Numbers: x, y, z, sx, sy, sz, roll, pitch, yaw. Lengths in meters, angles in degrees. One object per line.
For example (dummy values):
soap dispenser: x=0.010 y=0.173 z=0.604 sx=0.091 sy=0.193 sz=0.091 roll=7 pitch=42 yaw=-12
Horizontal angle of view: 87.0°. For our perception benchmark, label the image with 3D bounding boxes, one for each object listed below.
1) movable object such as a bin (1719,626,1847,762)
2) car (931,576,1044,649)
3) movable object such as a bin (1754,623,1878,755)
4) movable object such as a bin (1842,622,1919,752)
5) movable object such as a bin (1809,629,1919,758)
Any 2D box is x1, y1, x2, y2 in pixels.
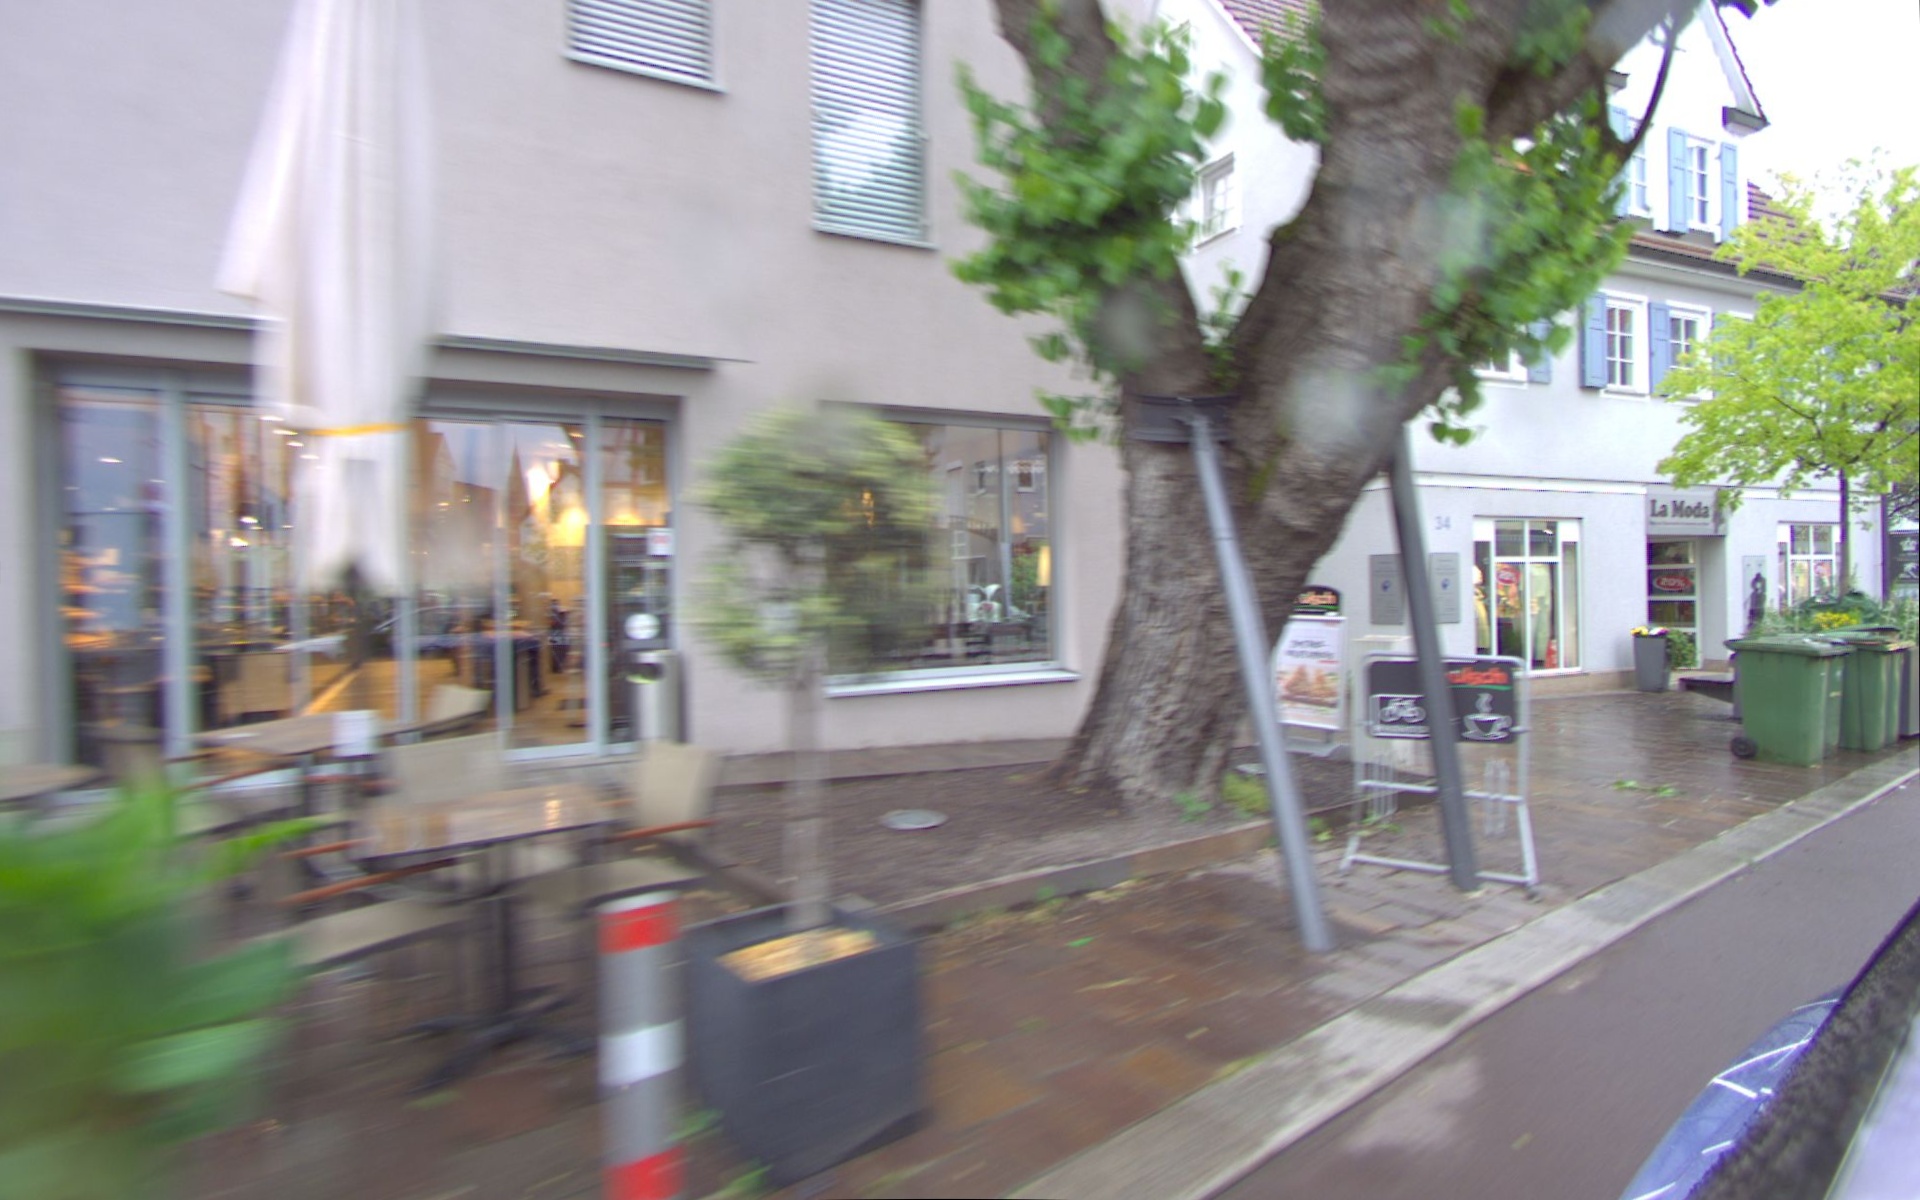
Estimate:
movable object such as a bin: x=7.237 y=0.799 z=8.911 sx=0.565 sy=1.093 sz=0.731 roll=-2 pitch=1 yaw=-32
car: x=0.732 y=0.216 z=23.506 sx=1.565 sy=1.496 sz=3.978 roll=1 pitch=2 yaw=18
movable object such as a bin: x=7.879 y=0.788 z=9.323 sx=0.551 sy=1.115 sz=0.731 roll=-2 pitch=1 yaw=-32
movable object such as a bin: x=9.019 y=0.821 z=9.824 sx=0.565 sy=1.170 sz=0.545 roll=-2 pitch=1 yaw=-32
movable object such as a bin: x=8.522 y=0.852 z=9.510 sx=0.551 sy=1.115 sz=0.695 roll=-2 pitch=1 yaw=-32
